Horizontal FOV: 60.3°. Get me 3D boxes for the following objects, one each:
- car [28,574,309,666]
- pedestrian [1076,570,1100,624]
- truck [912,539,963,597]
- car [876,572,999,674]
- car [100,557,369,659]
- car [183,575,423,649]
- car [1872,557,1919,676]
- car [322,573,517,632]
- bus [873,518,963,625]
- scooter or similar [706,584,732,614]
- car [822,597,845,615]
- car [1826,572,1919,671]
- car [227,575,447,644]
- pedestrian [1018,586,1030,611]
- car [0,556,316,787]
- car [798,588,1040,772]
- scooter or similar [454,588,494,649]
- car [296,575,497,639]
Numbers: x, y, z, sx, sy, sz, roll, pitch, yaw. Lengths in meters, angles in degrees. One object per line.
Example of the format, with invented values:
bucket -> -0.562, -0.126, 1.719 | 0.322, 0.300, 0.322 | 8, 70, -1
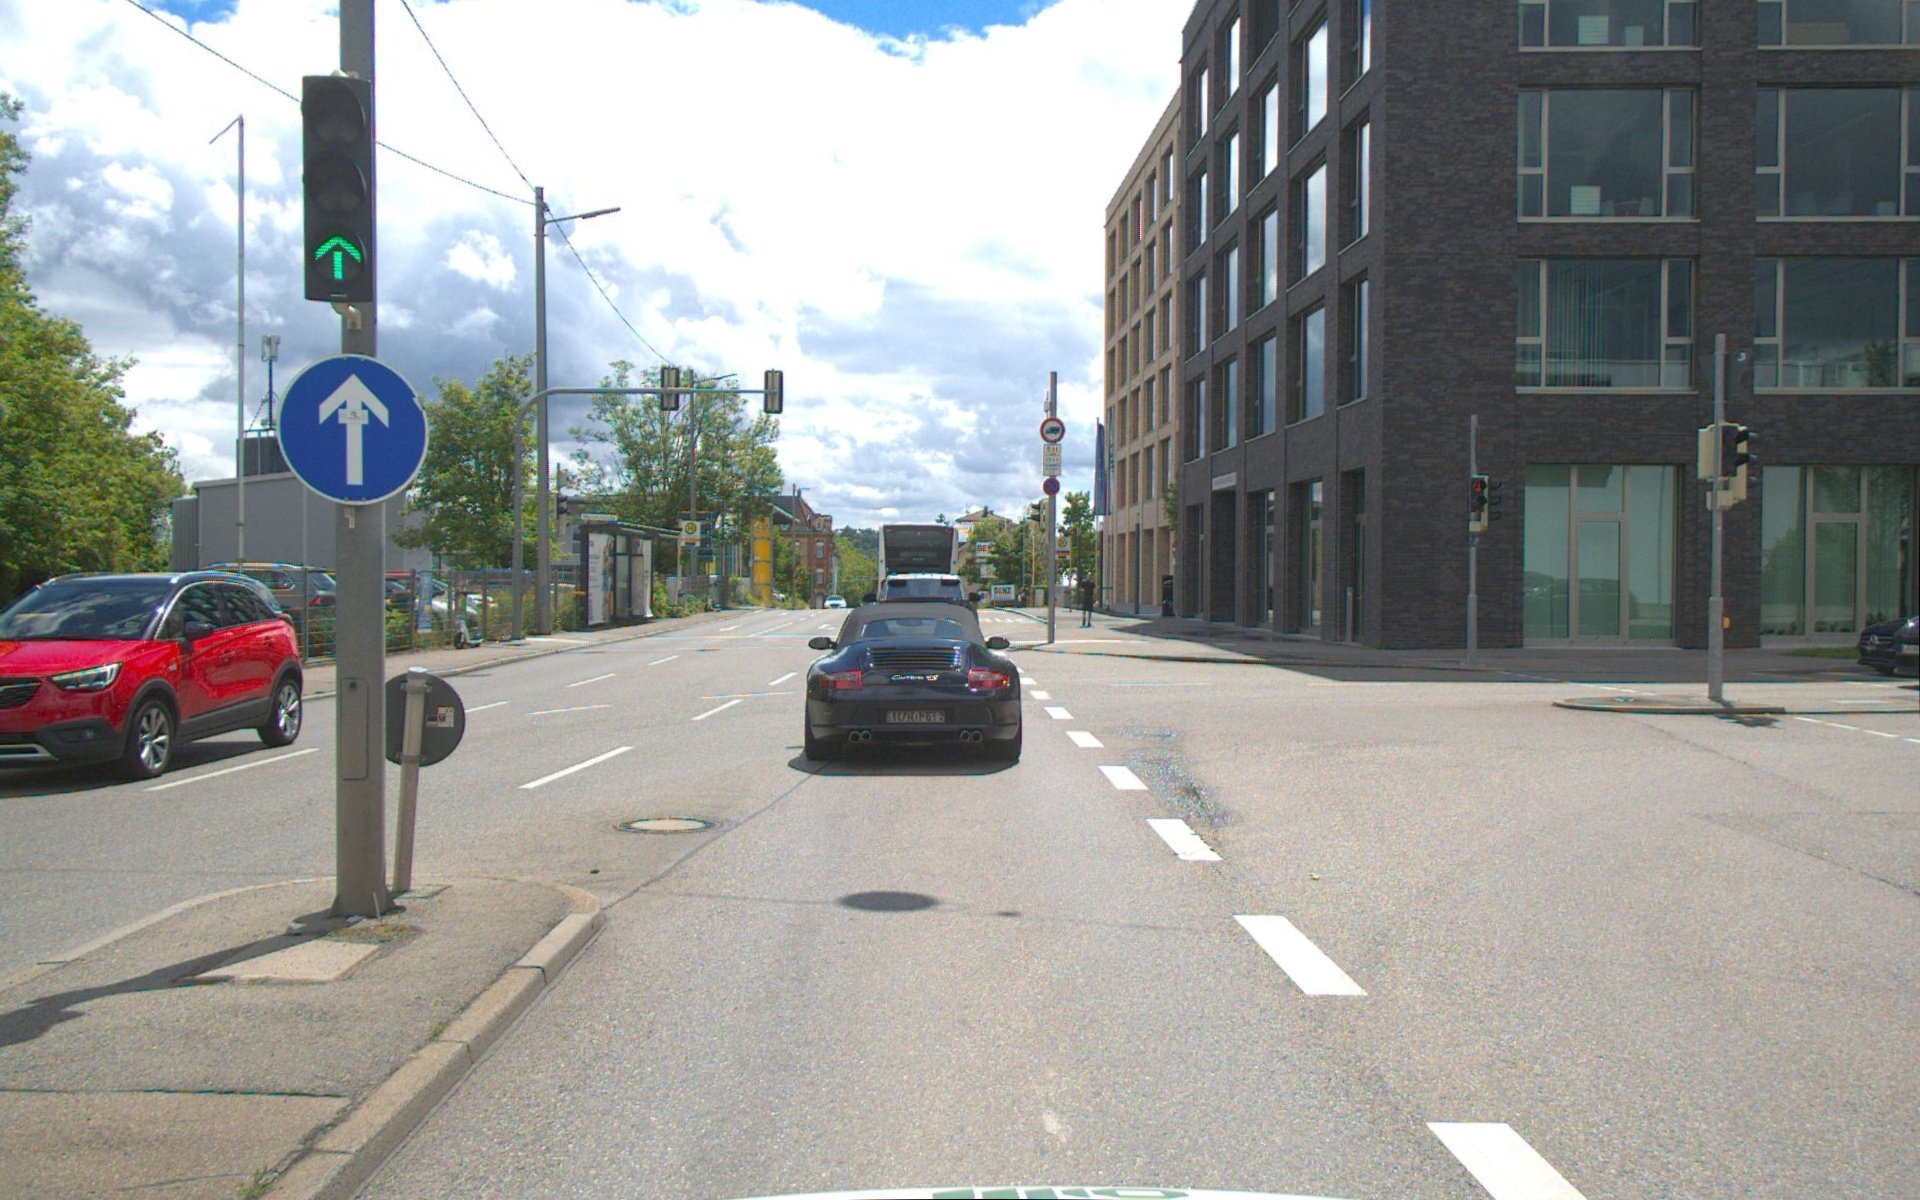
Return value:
car -> -12.971, 0.295, 27.330 | 3.782, 1.443, 1.898 | 0, 1, -10
pedestrian -> 4.215, -0.098, 54.674 | 0.669, 1.758, 0.962 | 1, 0, -2
truck -> -1.328, -1.746, 92.970 | 2.659, 3.108, 7.710 | 0, 1, -2
car -> -0.470, 0.347, 28.556 | 1.892, 1.610, 4.205 | 0, 0, -4
car -> -13.107, 0.123, 30.104 | 4.023, 1.765, 1.998 | 0, 1, -6
car -> -13.111, 0.219, 33.202 | 4.020, 1.443, 1.999 | 0, 1, -3
car -> 15.505, 0.217, 23.035 | 4.546, 1.647, 1.999 | 0, 1, -2
car -> -13.544, 0.061, 41.599 | 4.222, 1.443, 2.025 | 0, 1, 0
bus -> -1.324, -0.962, 57.001 | 2.745, 3.253, 12.195 | 0, 1, 0
scooter or similar -> -10.364, -0.048, 71.246 | 0.523, 1.284, 1.472 | 2, 0, 15
car -> -10.462, 0.473, 137.150 | 1.760, 1.400, 4.222 | -1, 1, -3
car -> 16.502, 0.321, 26.321 | 4.432, 1.518, 2.000 | 0, 0, -1
car -> -13.328, 0.186, 35.604 | 4.022, 1.443, 1.998 | 0, 1, -5
pedestrian -> 3.994, -0.091, 102.578 | 0.673, 1.563, 0.856 | 0, 0, -2
car -> -7.140, 0.496, 13.829 | 1.891, 1.627, 4.152 | -2, 1, -1
car -> -0.351, 0.618, 15.137 | 1.891, 1.400, 4.207 | 0, 1, -1
scooter or similar -> -10.090, 0.383, 34.370 | 0.415, 1.231, 1.126 | 2, 1, 3
car -> -13.084, 0.141, 38.572 | 4.019, 1.443, 1.916 | 0, 1, -1
